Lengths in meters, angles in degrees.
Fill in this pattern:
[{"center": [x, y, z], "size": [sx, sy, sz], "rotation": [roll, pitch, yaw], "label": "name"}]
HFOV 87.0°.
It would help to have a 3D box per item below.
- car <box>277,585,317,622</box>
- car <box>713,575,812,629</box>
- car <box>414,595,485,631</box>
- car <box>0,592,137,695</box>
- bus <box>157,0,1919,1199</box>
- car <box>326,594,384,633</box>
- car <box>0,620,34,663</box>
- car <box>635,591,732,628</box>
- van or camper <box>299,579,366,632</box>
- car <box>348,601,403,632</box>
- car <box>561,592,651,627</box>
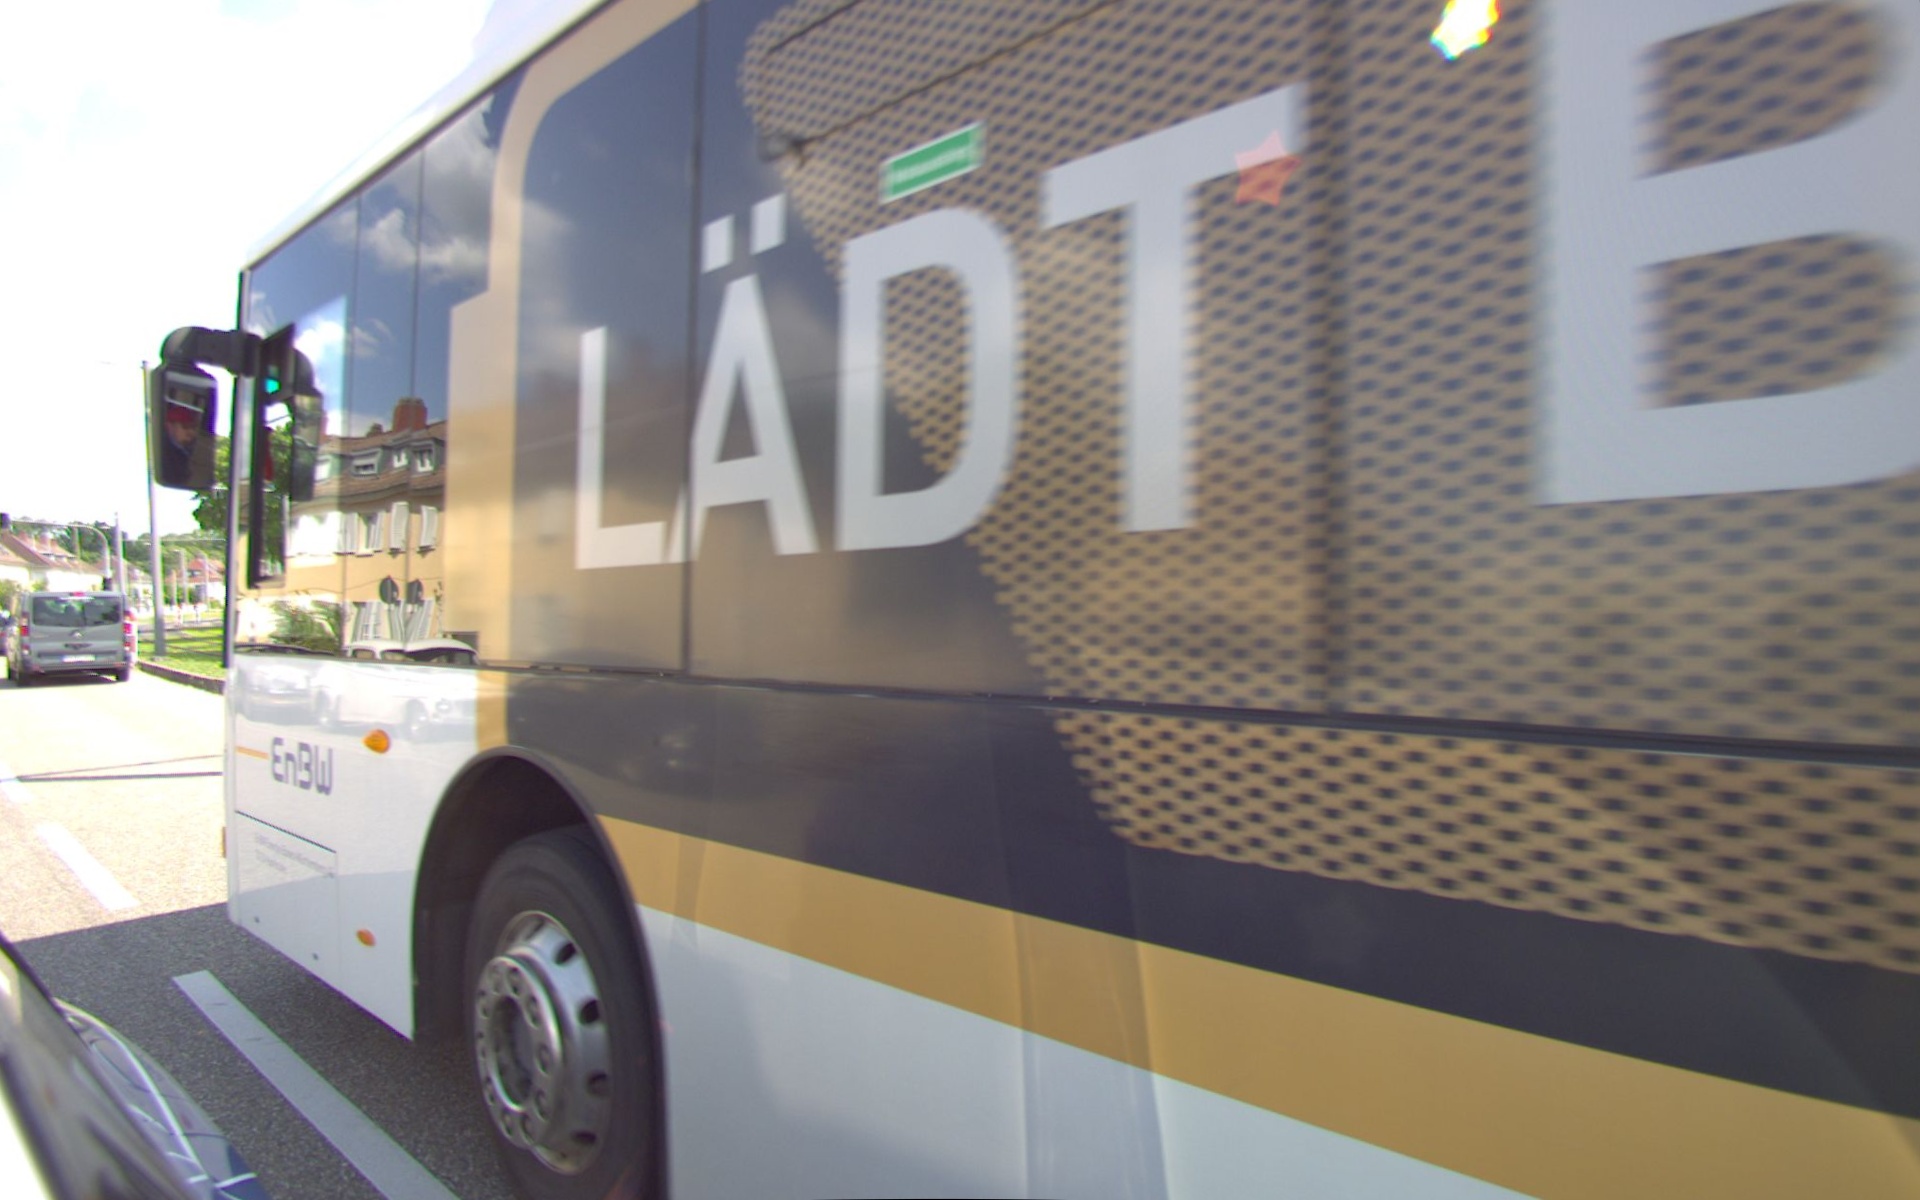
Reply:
[{"center": [-50.688, 0.253, 77.283], "size": [2.125, 2.688, 4.926], "rotation": [-2, 1, -37], "label": "car"}, {"center": [-7.782, 0.043, 40.236], "size": [1.932, 1.910, 3.864], "rotation": [-2, 3, 25], "label": "car"}, {"center": [-27.329, 0.700, 54.080], "size": [1.860, 1.781, 5.086], "rotation": [-2, 1, -45], "label": "car"}, {"center": [-19.738, 0.886, 22.195], "size": [5.293, 1.981, 1.934], "rotation": [-1, 0, 44], "label": "car"}, {"center": [2.701, -0.372, 0.632], "size": [12.238, 3.438, 2.610], "rotation": [-1, -1, 40], "label": "bus"}, {"center": [-33.724, 0.746, 56.378], "size": [1.969, 2.029, 4.912], "rotation": [-3, 1, -40], "label": "car"}, {"center": [-34.013, 1.437, 35.751], "size": [3.960, 1.460, 1.647], "rotation": [-1, -2, 44], "label": "car"}, {"center": [-12.387, 0.395, 45.450], "size": [1.736, 1.468, 3.840], "rotation": [-1, 1, 44], "label": "car"}, {"center": [-38.278, 0.314, 61.621], "size": [2.346, 2.992, 7.307], "rotation": [-2, 1, -40], "label": "van or camper"}, {"center": [-29.536, 0.820, 51.073], "size": [1.828, 1.397, 4.819], "rotation": [-3, 1, -36], "label": "car"}, {"center": [-18.154, 0.465, 51.993], "size": [1.874, 1.541, 3.943], "rotation": [-1, 2, 44], "label": "car"}]
